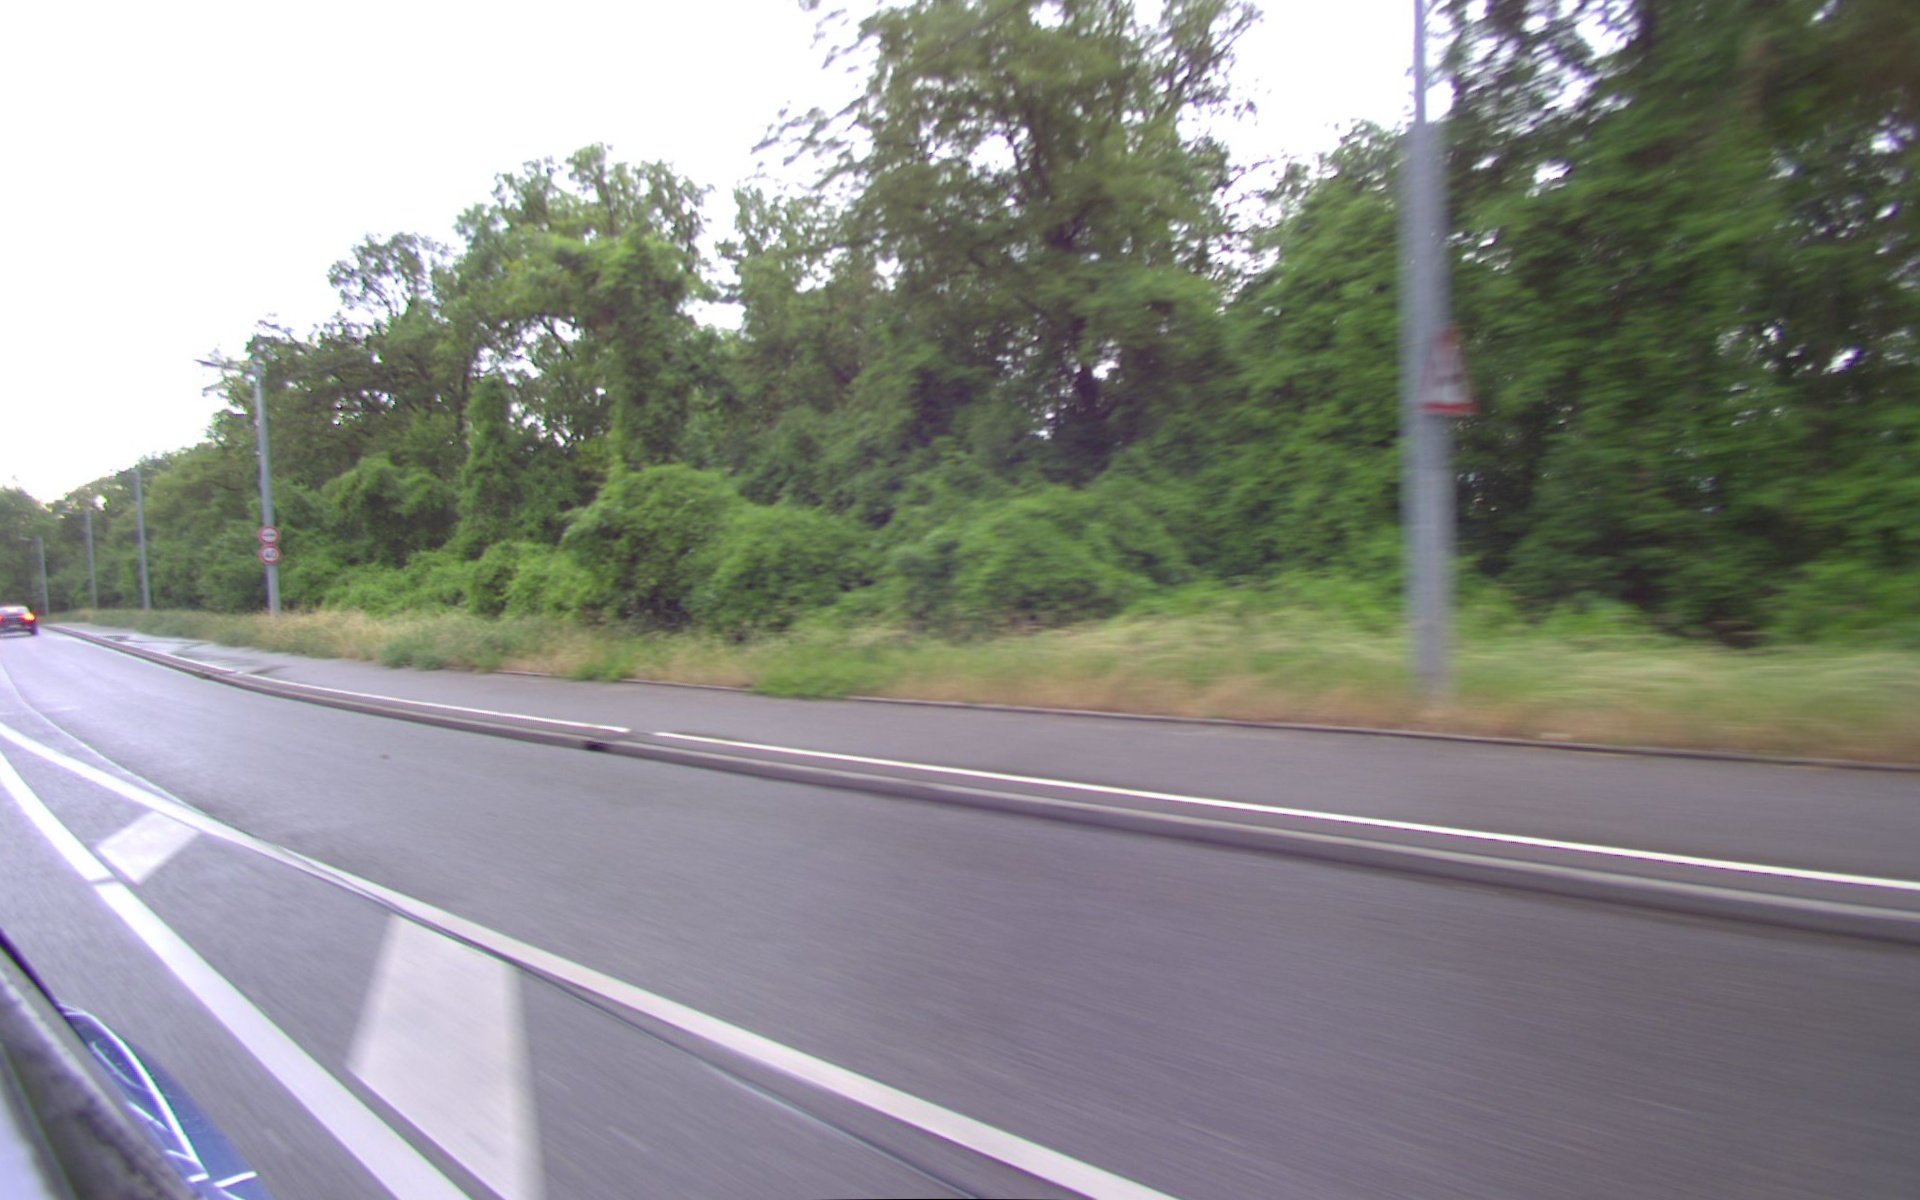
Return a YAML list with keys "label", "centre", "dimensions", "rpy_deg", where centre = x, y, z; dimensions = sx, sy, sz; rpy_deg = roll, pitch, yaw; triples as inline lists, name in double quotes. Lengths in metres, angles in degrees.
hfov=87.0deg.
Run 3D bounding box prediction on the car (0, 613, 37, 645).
- label: "car"
  centre: [-55.900, 1.702, 59.608]
  dimensions: [1.968, 1.800, 4.716]
  rpy_deg: [-2, 0, -39]
